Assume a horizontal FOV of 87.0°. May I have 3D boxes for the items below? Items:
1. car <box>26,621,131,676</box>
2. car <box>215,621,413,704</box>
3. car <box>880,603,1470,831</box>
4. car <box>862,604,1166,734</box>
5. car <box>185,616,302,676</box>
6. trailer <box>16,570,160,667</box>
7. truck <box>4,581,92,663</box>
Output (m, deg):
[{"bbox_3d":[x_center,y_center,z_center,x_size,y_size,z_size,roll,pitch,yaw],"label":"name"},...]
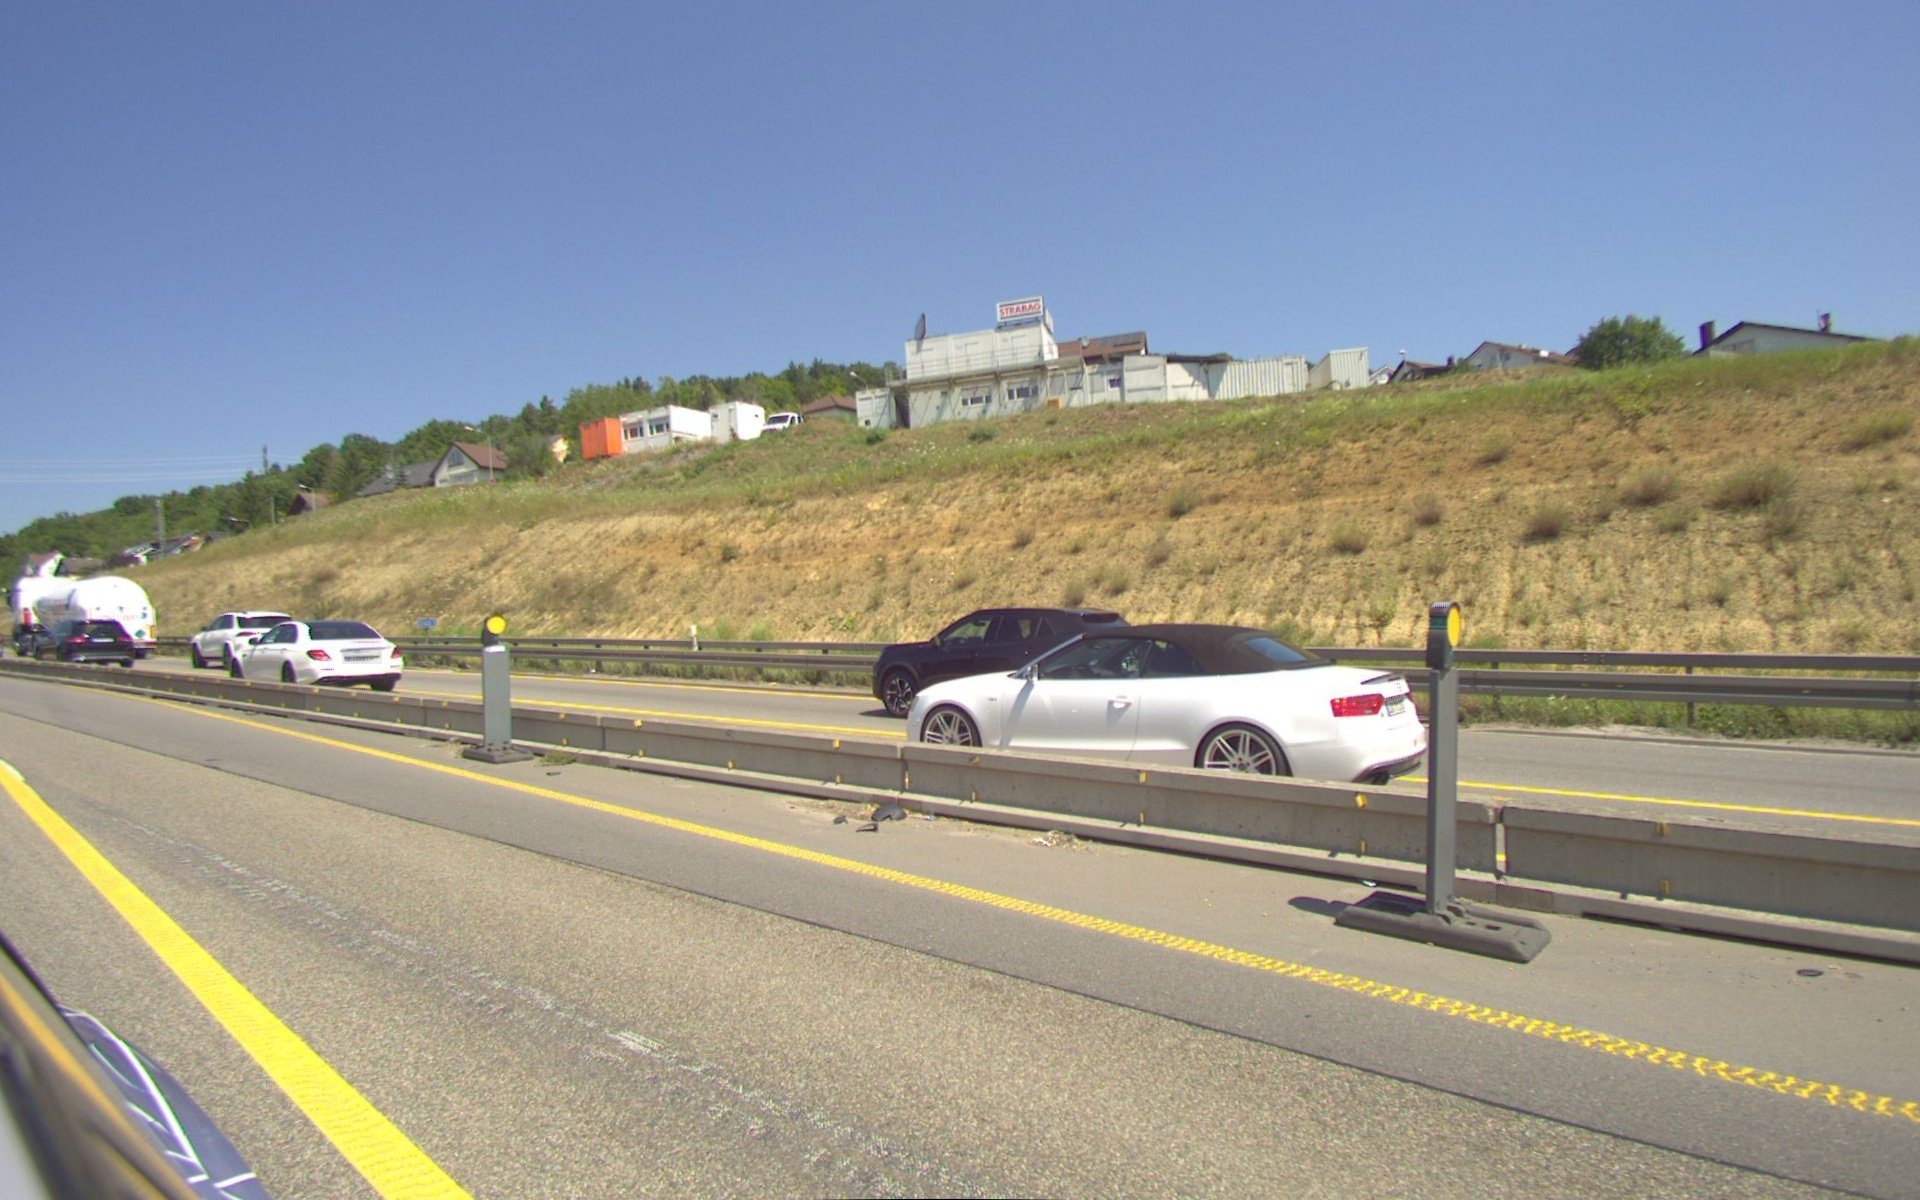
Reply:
[{"bbox_3d":[-28.678,1.563,32.890,4.727,1.624,1.773,-2,-1,39],"label":"car"},{"bbox_3d":[-13.300,1.217,20.716,4.934,1.475,1.942,-2,-1,39],"label":"car"},{"bbox_3d":[1.632,0.823,8.679,4.630,1.458,1.783,-2,-1,38],"label":"car"},{"bbox_3d":[0.656,0.882,14.053,3.996,1.543,1.677,-2,-1,40],"label":"car"},{"bbox_3d":[-22.815,1.431,32.178,4.530,1.776,1.774,-2,-2,37],"label":"car"},{"bbox_3d":[-38.873,0.891,44.907,11.900,3.830,2.565,-2,-1,38],"label":"trailer"},{"bbox_3d":[-44.288,1.072,49.121,3.761,3.830,2.566,-2,-1,38],"label":"truck"}]
